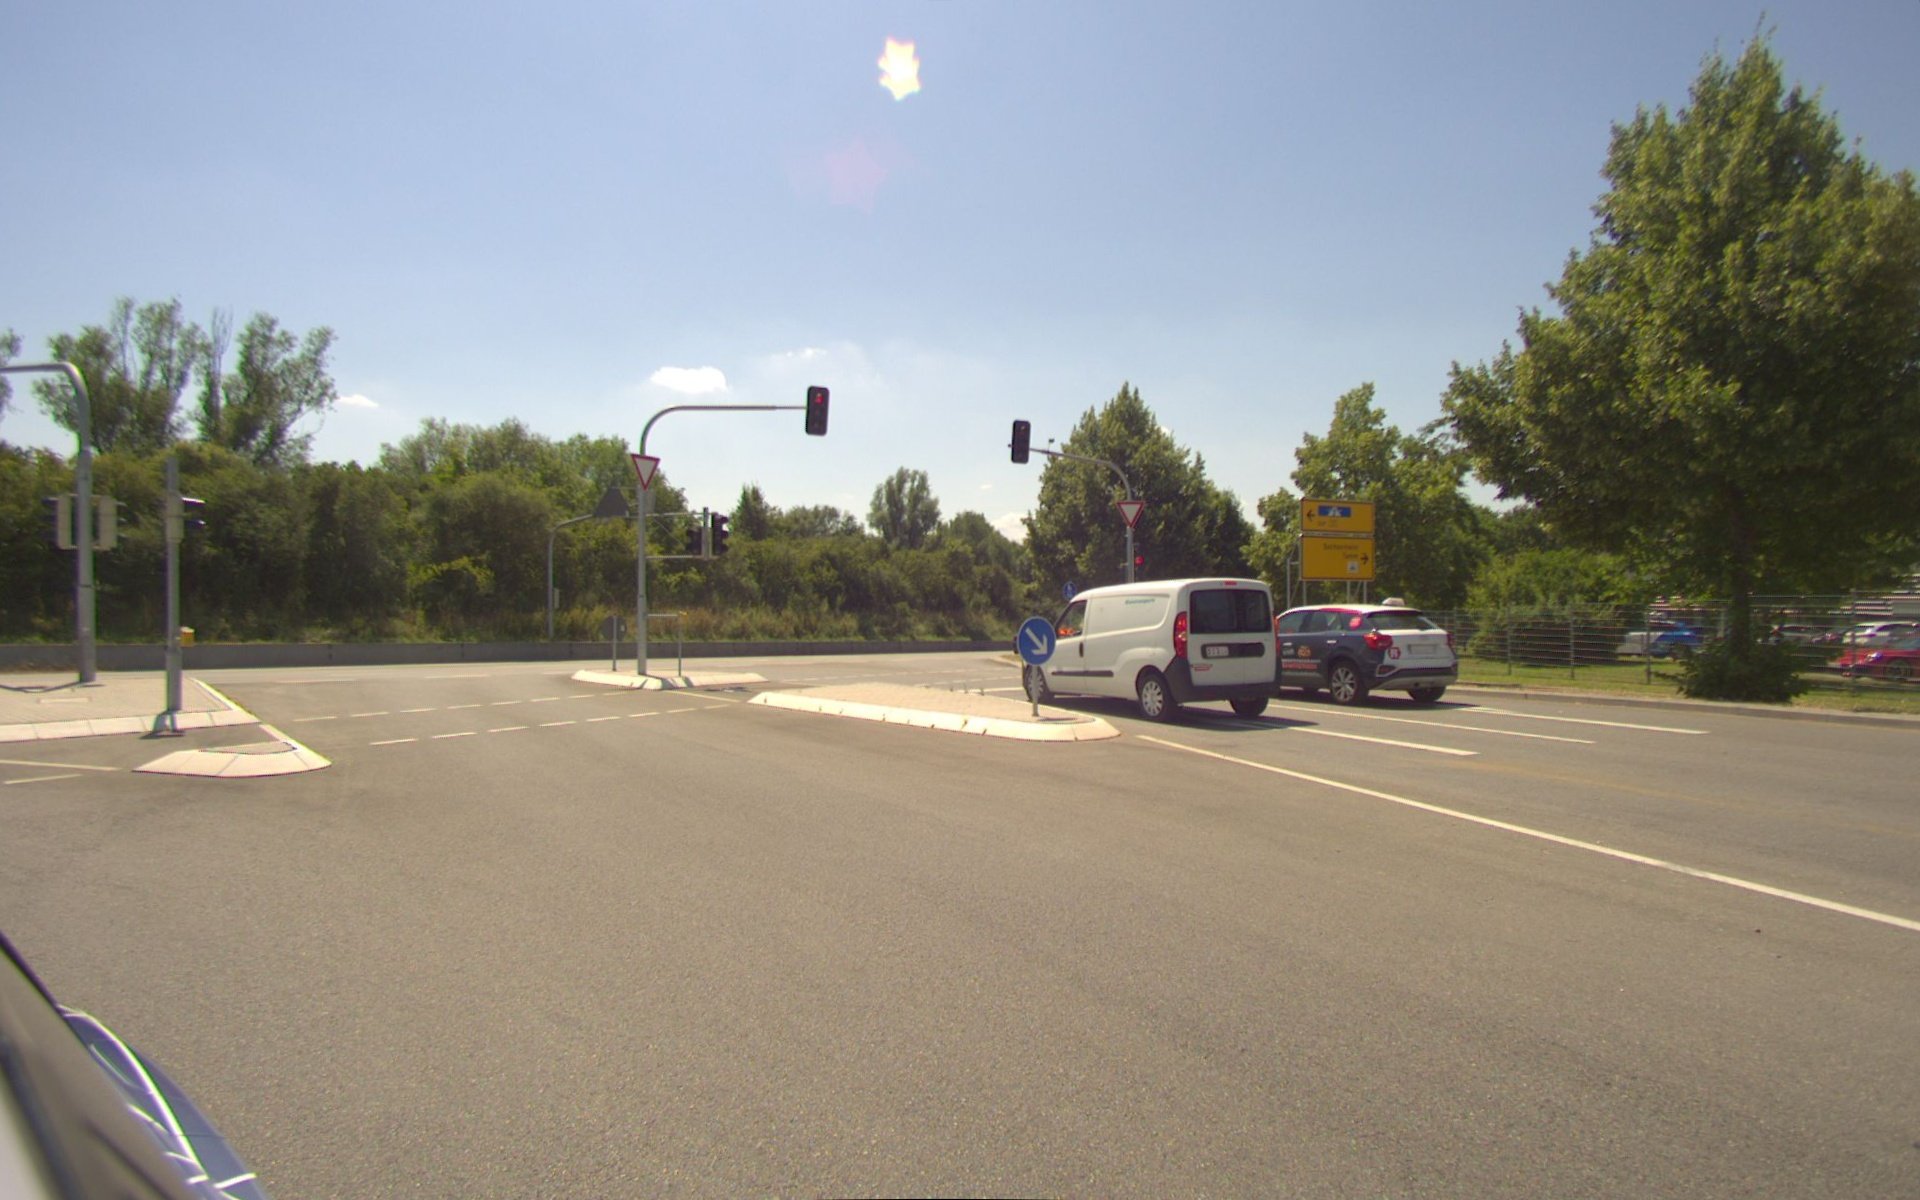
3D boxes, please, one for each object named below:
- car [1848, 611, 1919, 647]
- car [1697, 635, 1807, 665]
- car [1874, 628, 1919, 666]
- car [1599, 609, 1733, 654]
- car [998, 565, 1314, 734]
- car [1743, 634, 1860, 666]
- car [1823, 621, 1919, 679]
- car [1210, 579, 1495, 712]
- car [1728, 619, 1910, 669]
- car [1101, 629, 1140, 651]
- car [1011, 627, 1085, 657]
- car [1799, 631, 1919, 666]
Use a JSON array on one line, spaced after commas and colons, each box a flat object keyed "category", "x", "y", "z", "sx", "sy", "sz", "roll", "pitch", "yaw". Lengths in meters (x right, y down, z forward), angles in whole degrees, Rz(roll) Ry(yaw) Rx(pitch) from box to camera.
[{"category": "car", "x": 40.275, "y": 1.243, "z": 42.652, "sx": 3.949, "sy": 1.471, "sz": 1.769, "roll": 1, "pitch": -3, "yaw": 5}, {"category": "car", "x": 40.929, "y": 2.586, "z": 52.388, "sx": 3.949, "sy": 1.497, "sz": 1.997, "roll": 1, "pitch": -3, "yaw": 5}, {"category": "car", "x": 39.515, "y": 1.906, "z": 40.455, "sx": 3.949, "sy": 1.497, "sz": 1.997, "roll": 1, "pitch": -3, "yaw": 5}, {"category": "car", "x": 28.689, "y": 1.303, "z": 41.237, "sx": 3.949, "sy": 1.719, "sz": 1.997, "roll": 1, "pitch": -3, "yaw": 5}, {"category": "car", "x": 2.600, "y": 0.595, "z": 14.861, "sx": 1.966, "sy": 1.957, "sz": 4.887, "roll": -4, "pitch": 1, "yaw": -25}, {"category": "car", "x": 41.263, "y": 2.443, "z": 49.710, "sx": 3.949, "sy": 1.497, "sz": 1.997, "roll": 1, "pitch": -3, "yaw": 5}, {"category": "car", "x": 26.138, "y": 1.368, "z": 27.227, "sx": 3.949, "sy": 1.497, "sz": 1.997, "roll": 1, "pitch": -3, "yaw": 5}, {"category": "car", "x": 6.049, "y": 0.625, "z": 16.084, "sx": 1.966, "sy": 1.720, "sz": 3.877, "roll": -4, "pitch": 1, "yaw": -25}, {"category": "car", "x": 27.420, "y": 1.408, "z": 32.433, "sx": 3.949, "sy": 1.497, "sz": 1.997, "roll": 1, "pitch": -3, "yaw": 5}, {"category": "car", "x": 11.526, "y": 2.856, "z": 72.436, "sx": 1.728, "sy": 1.453, "sz": 4.358, "roll": -1, "pitch": -3, "yaw": 23}, {"category": "car", "x": 4.530, "y": 2.126, "z": 51.679, "sx": 1.737, "sy": 1.453, "sz": 4.243, "roll": -2, "pitch": -2, "yaw": 38}, {"category": "car", "x": 40.580, "y": 2.198, "z": 45.465, "sx": 3.949, "sy": 1.497, "sz": 1.997, "roll": 1, "pitch": -3, "yaw": 5}]
